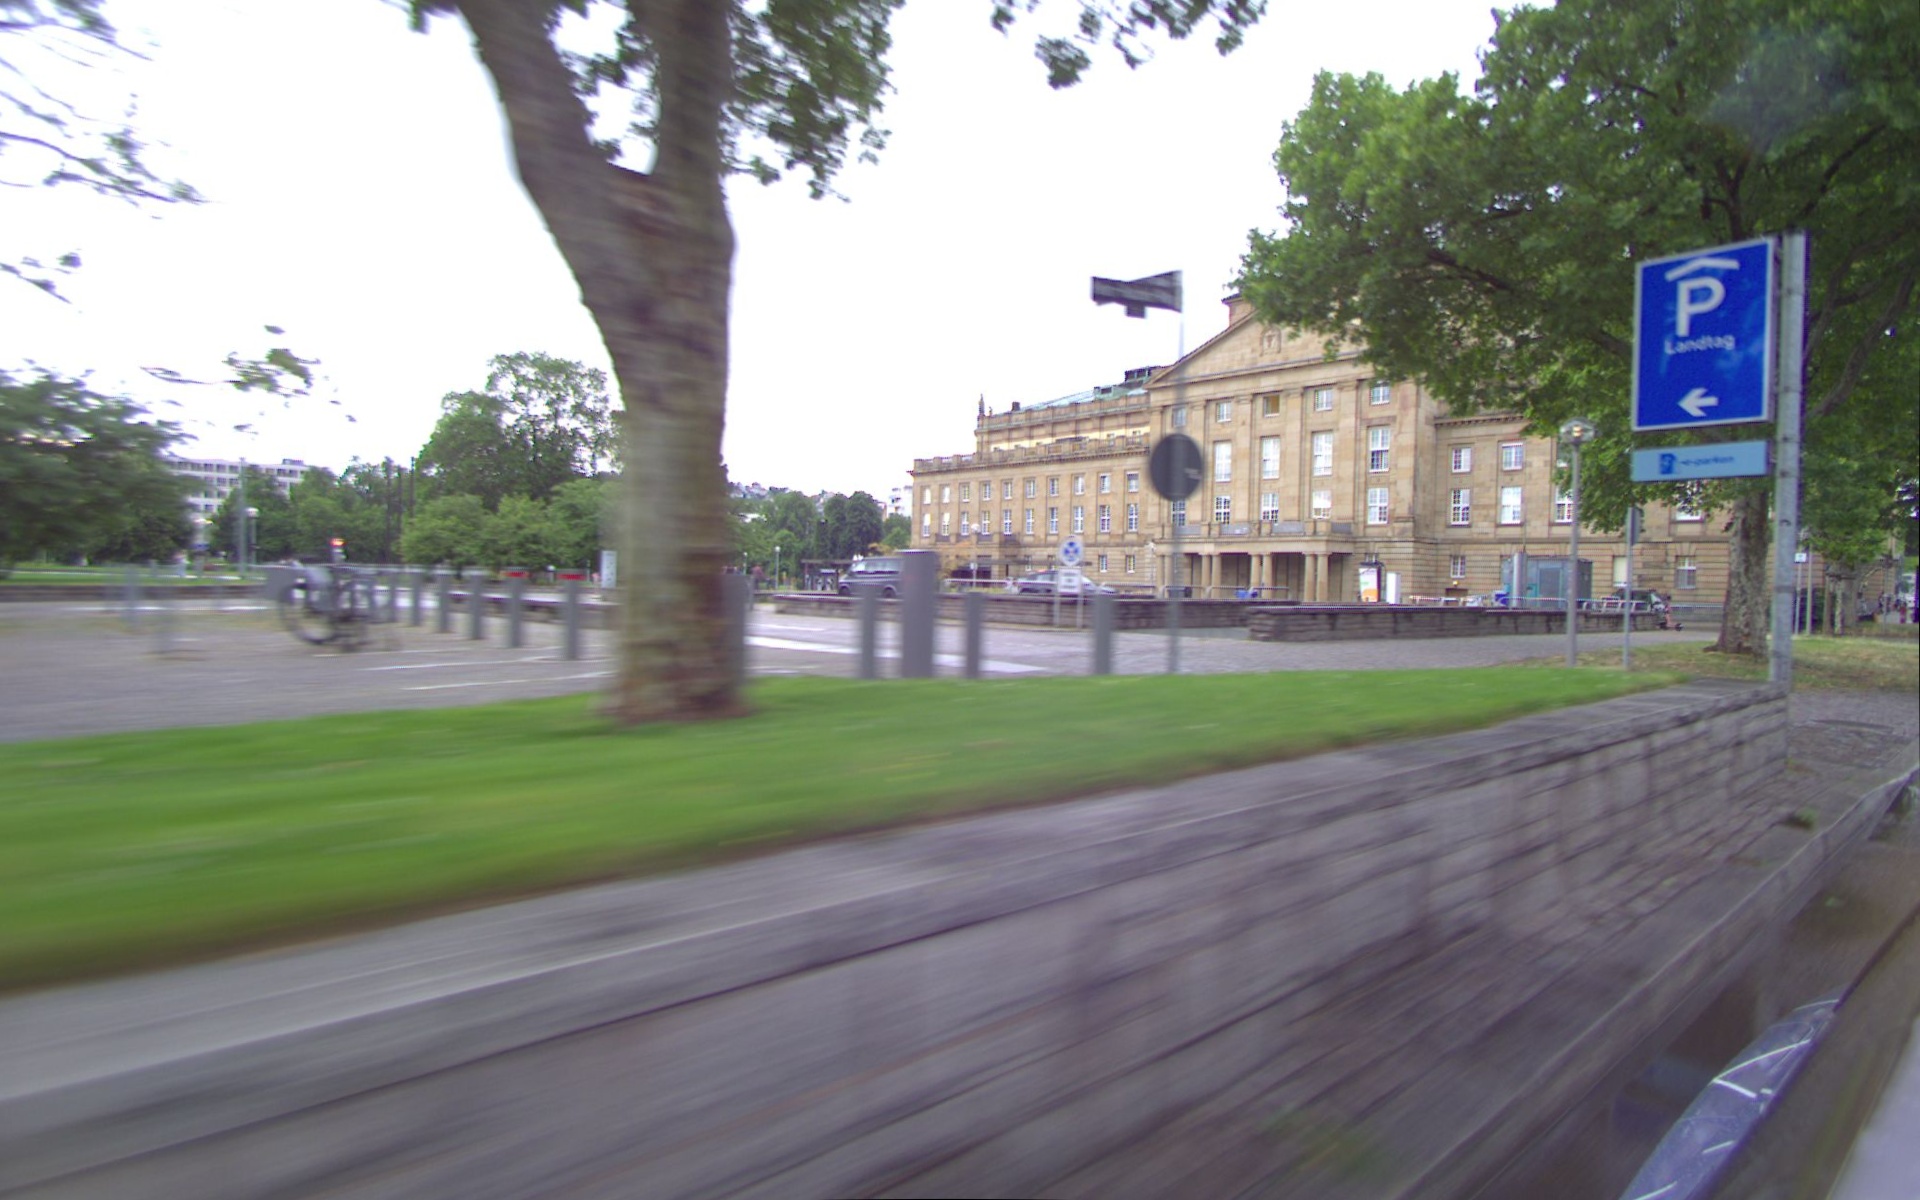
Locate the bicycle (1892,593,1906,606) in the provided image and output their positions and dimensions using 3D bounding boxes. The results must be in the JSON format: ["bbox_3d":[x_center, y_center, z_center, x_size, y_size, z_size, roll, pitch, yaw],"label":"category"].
[{"bbox_3d":[77.326,-0.036,83.343,1.736,1.063,0.420,-1,1,-31],"label":"bicycle"}]

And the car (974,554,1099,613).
[{"bbox_3d":[2.390,-0.568,32.558,1.627,1.619,3.997,0,4,-40],"label":"car"}]

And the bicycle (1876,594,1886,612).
[{"bbox_3d":[64.009,0.208,70.362,0.464,1.230,1.665,1,2,44],"label":"bicycle"}]

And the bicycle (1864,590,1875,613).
[{"bbox_3d":[61.915,0.074,68.887,0.453,1.535,1.574,-1,0,44],"label":"bicycle"}]

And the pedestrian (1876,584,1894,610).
[{"bbox_3d":[66.088,-0.195,72.316,0.631,1.798,0.796,0,4,-44],"label":"pedestrian"}]

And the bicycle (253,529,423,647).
[{"bbox_3d":[-6.881,-0.155,11.166,2.030,1.188,0.947,3,1,38],"label":"bicycle"}]

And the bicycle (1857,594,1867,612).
[{"bbox_3d":[55.840,0.187,62.647,1.760,1.093,0.352,-2,4,-45],"label":"bicycle"}]

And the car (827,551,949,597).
[{"bbox_3d":[-3.050,-1.089,42.295,5.009,1.785,2.421,2,2,45],"label":"car"}]

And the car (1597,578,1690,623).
[{"bbox_3d":[26.401,0.050,39.009,5.150,1.630,1.995,1,0,-45],"label":"car"}]

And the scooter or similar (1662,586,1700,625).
[{"bbox_3d":[24.855,0.166,34.892,0.536,1.271,1.431,2,2,15],"label":"scooter or similar"}]

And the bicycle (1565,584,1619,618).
[{"bbox_3d":[33.366,0.035,53.445,2.313,1.687,0.763,1,2,41],"label":"bicycle"}]

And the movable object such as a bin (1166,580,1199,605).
[{"bbox_3d":[13.583,-0.468,61.659,1.228,1.474,1.493,-1,4,-40],"label":"movable object such as a bin"}]

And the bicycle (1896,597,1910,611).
[{"bbox_3d":[73.073,0.307,78.458,0.711,1.064,1.715,1,2,41],"label":"bicycle"}]
